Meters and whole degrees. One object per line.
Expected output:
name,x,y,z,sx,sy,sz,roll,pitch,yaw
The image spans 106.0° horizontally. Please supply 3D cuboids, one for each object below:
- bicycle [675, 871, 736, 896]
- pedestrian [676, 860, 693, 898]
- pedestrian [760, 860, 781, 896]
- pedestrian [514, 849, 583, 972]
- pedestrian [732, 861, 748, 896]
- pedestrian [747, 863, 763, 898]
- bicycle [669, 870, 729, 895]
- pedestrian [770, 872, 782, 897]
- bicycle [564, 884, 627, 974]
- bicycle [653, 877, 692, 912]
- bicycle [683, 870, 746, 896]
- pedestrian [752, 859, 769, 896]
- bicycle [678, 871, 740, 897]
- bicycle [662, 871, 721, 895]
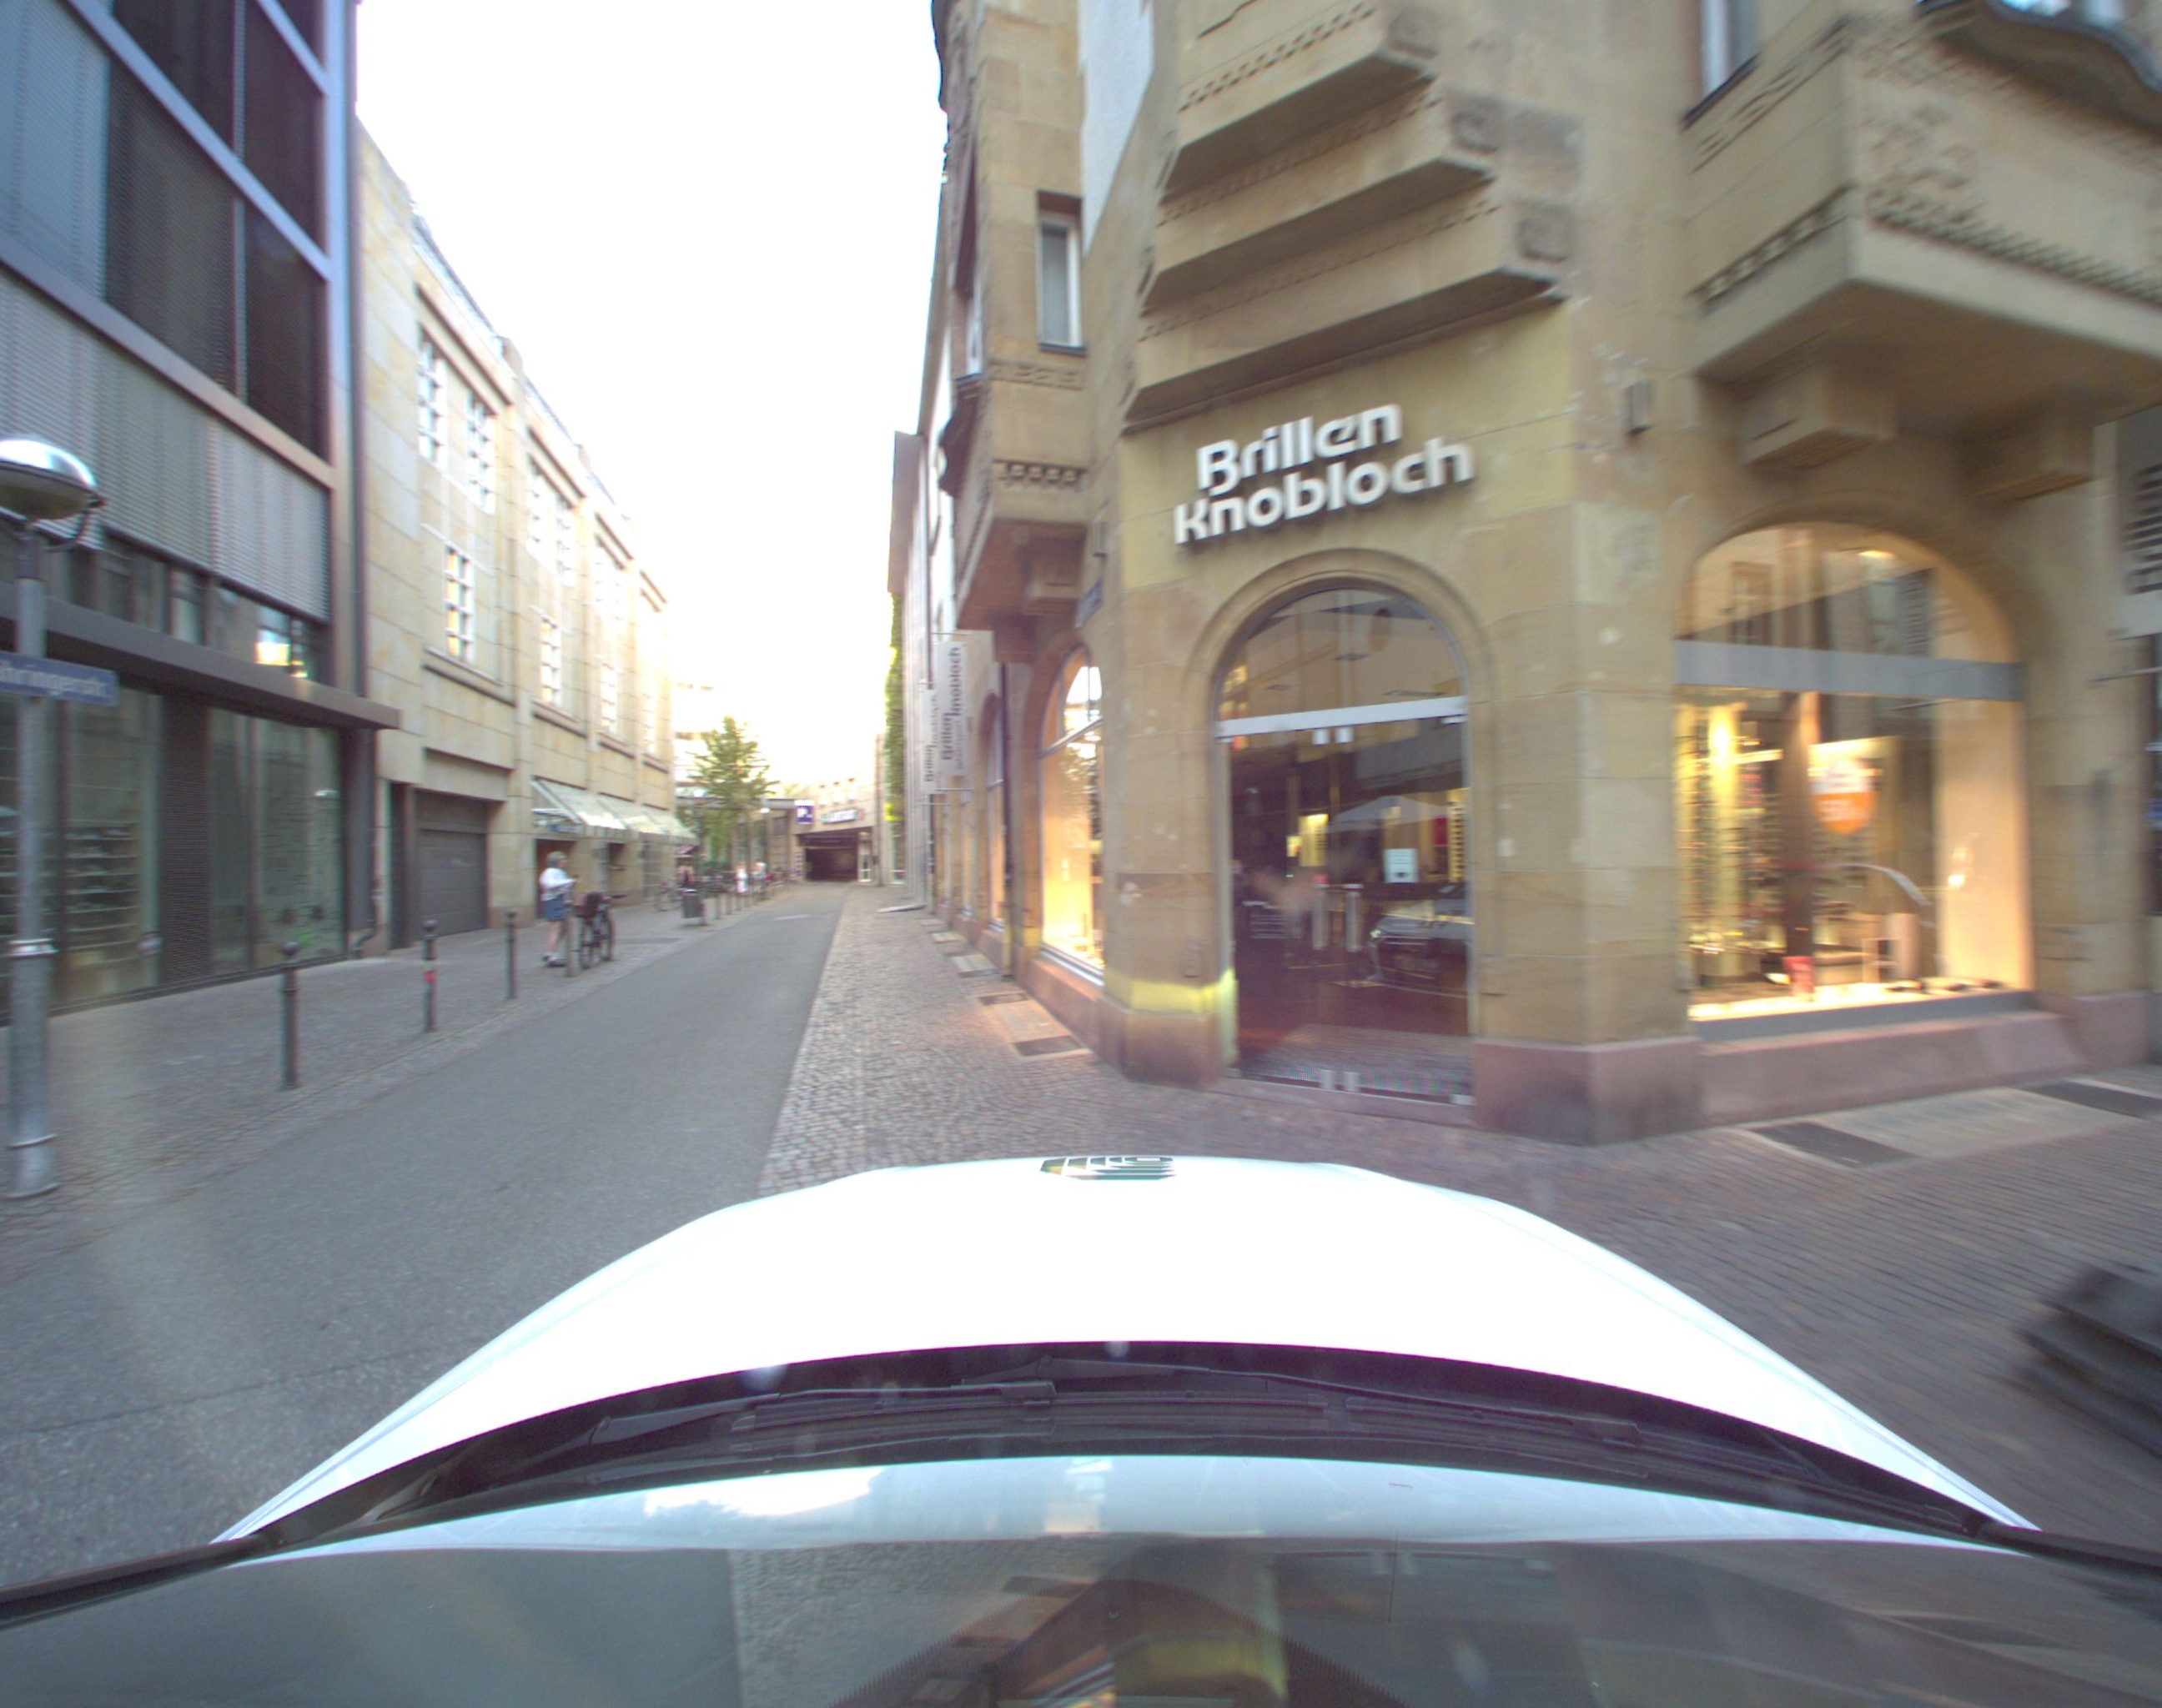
bicycle,-19.495,1.524,42.344,2.777,1.200,0.726,-1,0,-34
pedestrian,-18.586,1.165,38.134,0.660,1.764,0.611,-1,0,-29
pedestrian,-15.301,1.158,40.128,0.865,1.757,0.795,0,-1,-15
pedestrian,-8.090,0.828,12.411,0.610,1.791,0.905,-1,0,-16
pedestrian,-15.836,1.126,37.864,0.591,1.604,0.662,0,-1,-14
pedestrian,-15.109,1.204,37.737,0.585,1.604,0.624,0,-1,-14
bicycle,-20.142,1.463,42.987,2.777,1.200,0.749,-1,0,-34
pedestrian,-14.502,1.429,38.714,0.466,1.168,0.519,0,-1,-14
bicycle,-7.554,1.123,12.730,0.412,1.232,1.816,-1,0,-17
bicycle,-14.025,1.369,28.013,0.480,1.081,2.235,-1,0,-8
bicycle,-18.103,1.412,40.260,2.777,1.200,0.726,-1,0,-34
pedestrian,-15.366,1.132,39.088,0.631,1.757,0.795,0,-1,-14
bicycle,-18.938,1.501,41.522,2.777,1.200,0.726,-1,0,-34
bicycle,-21.039,1.566,44.029,2.777,1.200,0.726,-1,0,-34
